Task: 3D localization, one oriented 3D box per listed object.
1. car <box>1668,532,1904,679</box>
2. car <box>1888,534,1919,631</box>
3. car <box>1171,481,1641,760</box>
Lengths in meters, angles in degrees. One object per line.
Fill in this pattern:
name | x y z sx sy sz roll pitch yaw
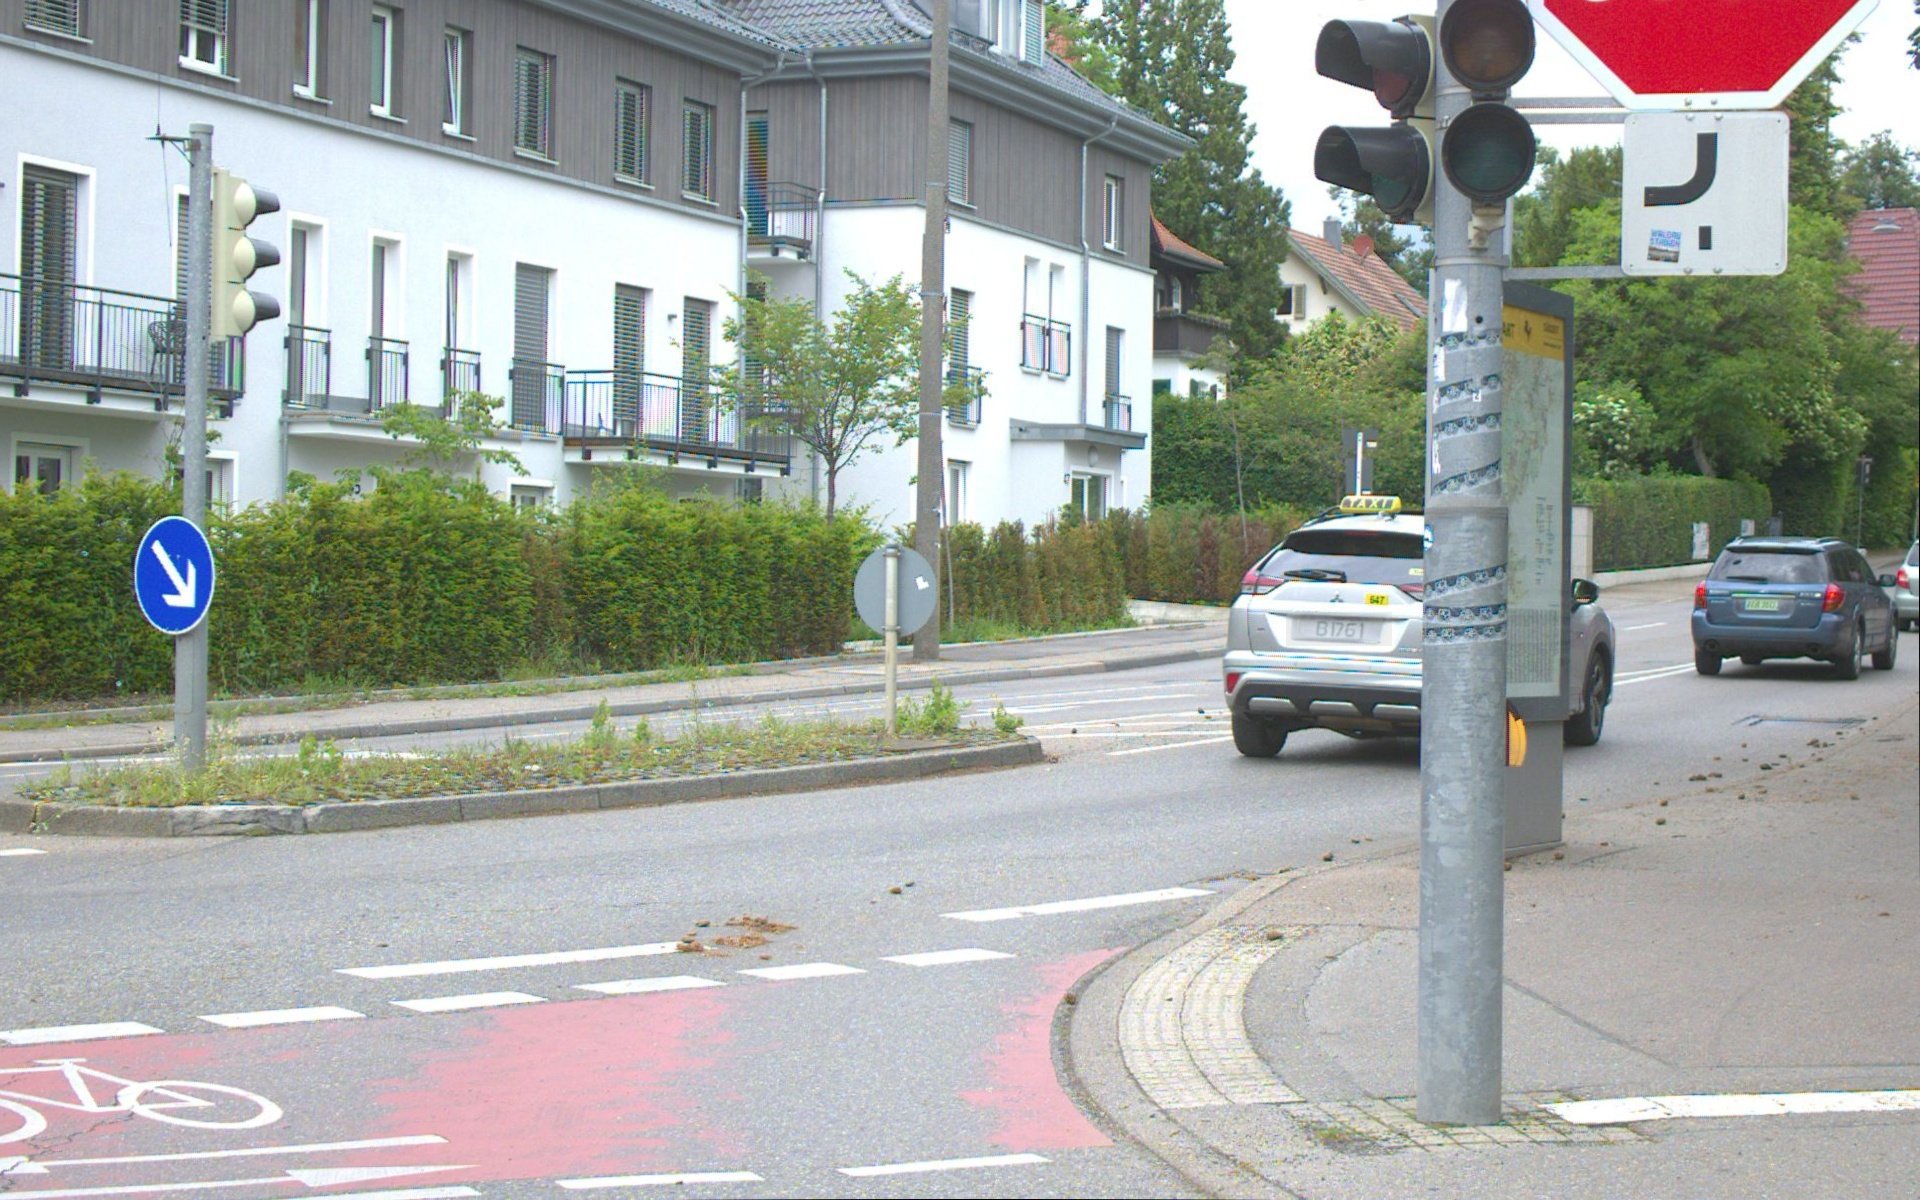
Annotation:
car | 9.227 0.017 38.137 1.802 1.522 4.737 0 1 23
car | 15.122 -0.295 52.215 1.695 1.425 3.745 0 1 20
car | 3.217 0.086 23.959 1.810 1.747 4.480 0 1 27
